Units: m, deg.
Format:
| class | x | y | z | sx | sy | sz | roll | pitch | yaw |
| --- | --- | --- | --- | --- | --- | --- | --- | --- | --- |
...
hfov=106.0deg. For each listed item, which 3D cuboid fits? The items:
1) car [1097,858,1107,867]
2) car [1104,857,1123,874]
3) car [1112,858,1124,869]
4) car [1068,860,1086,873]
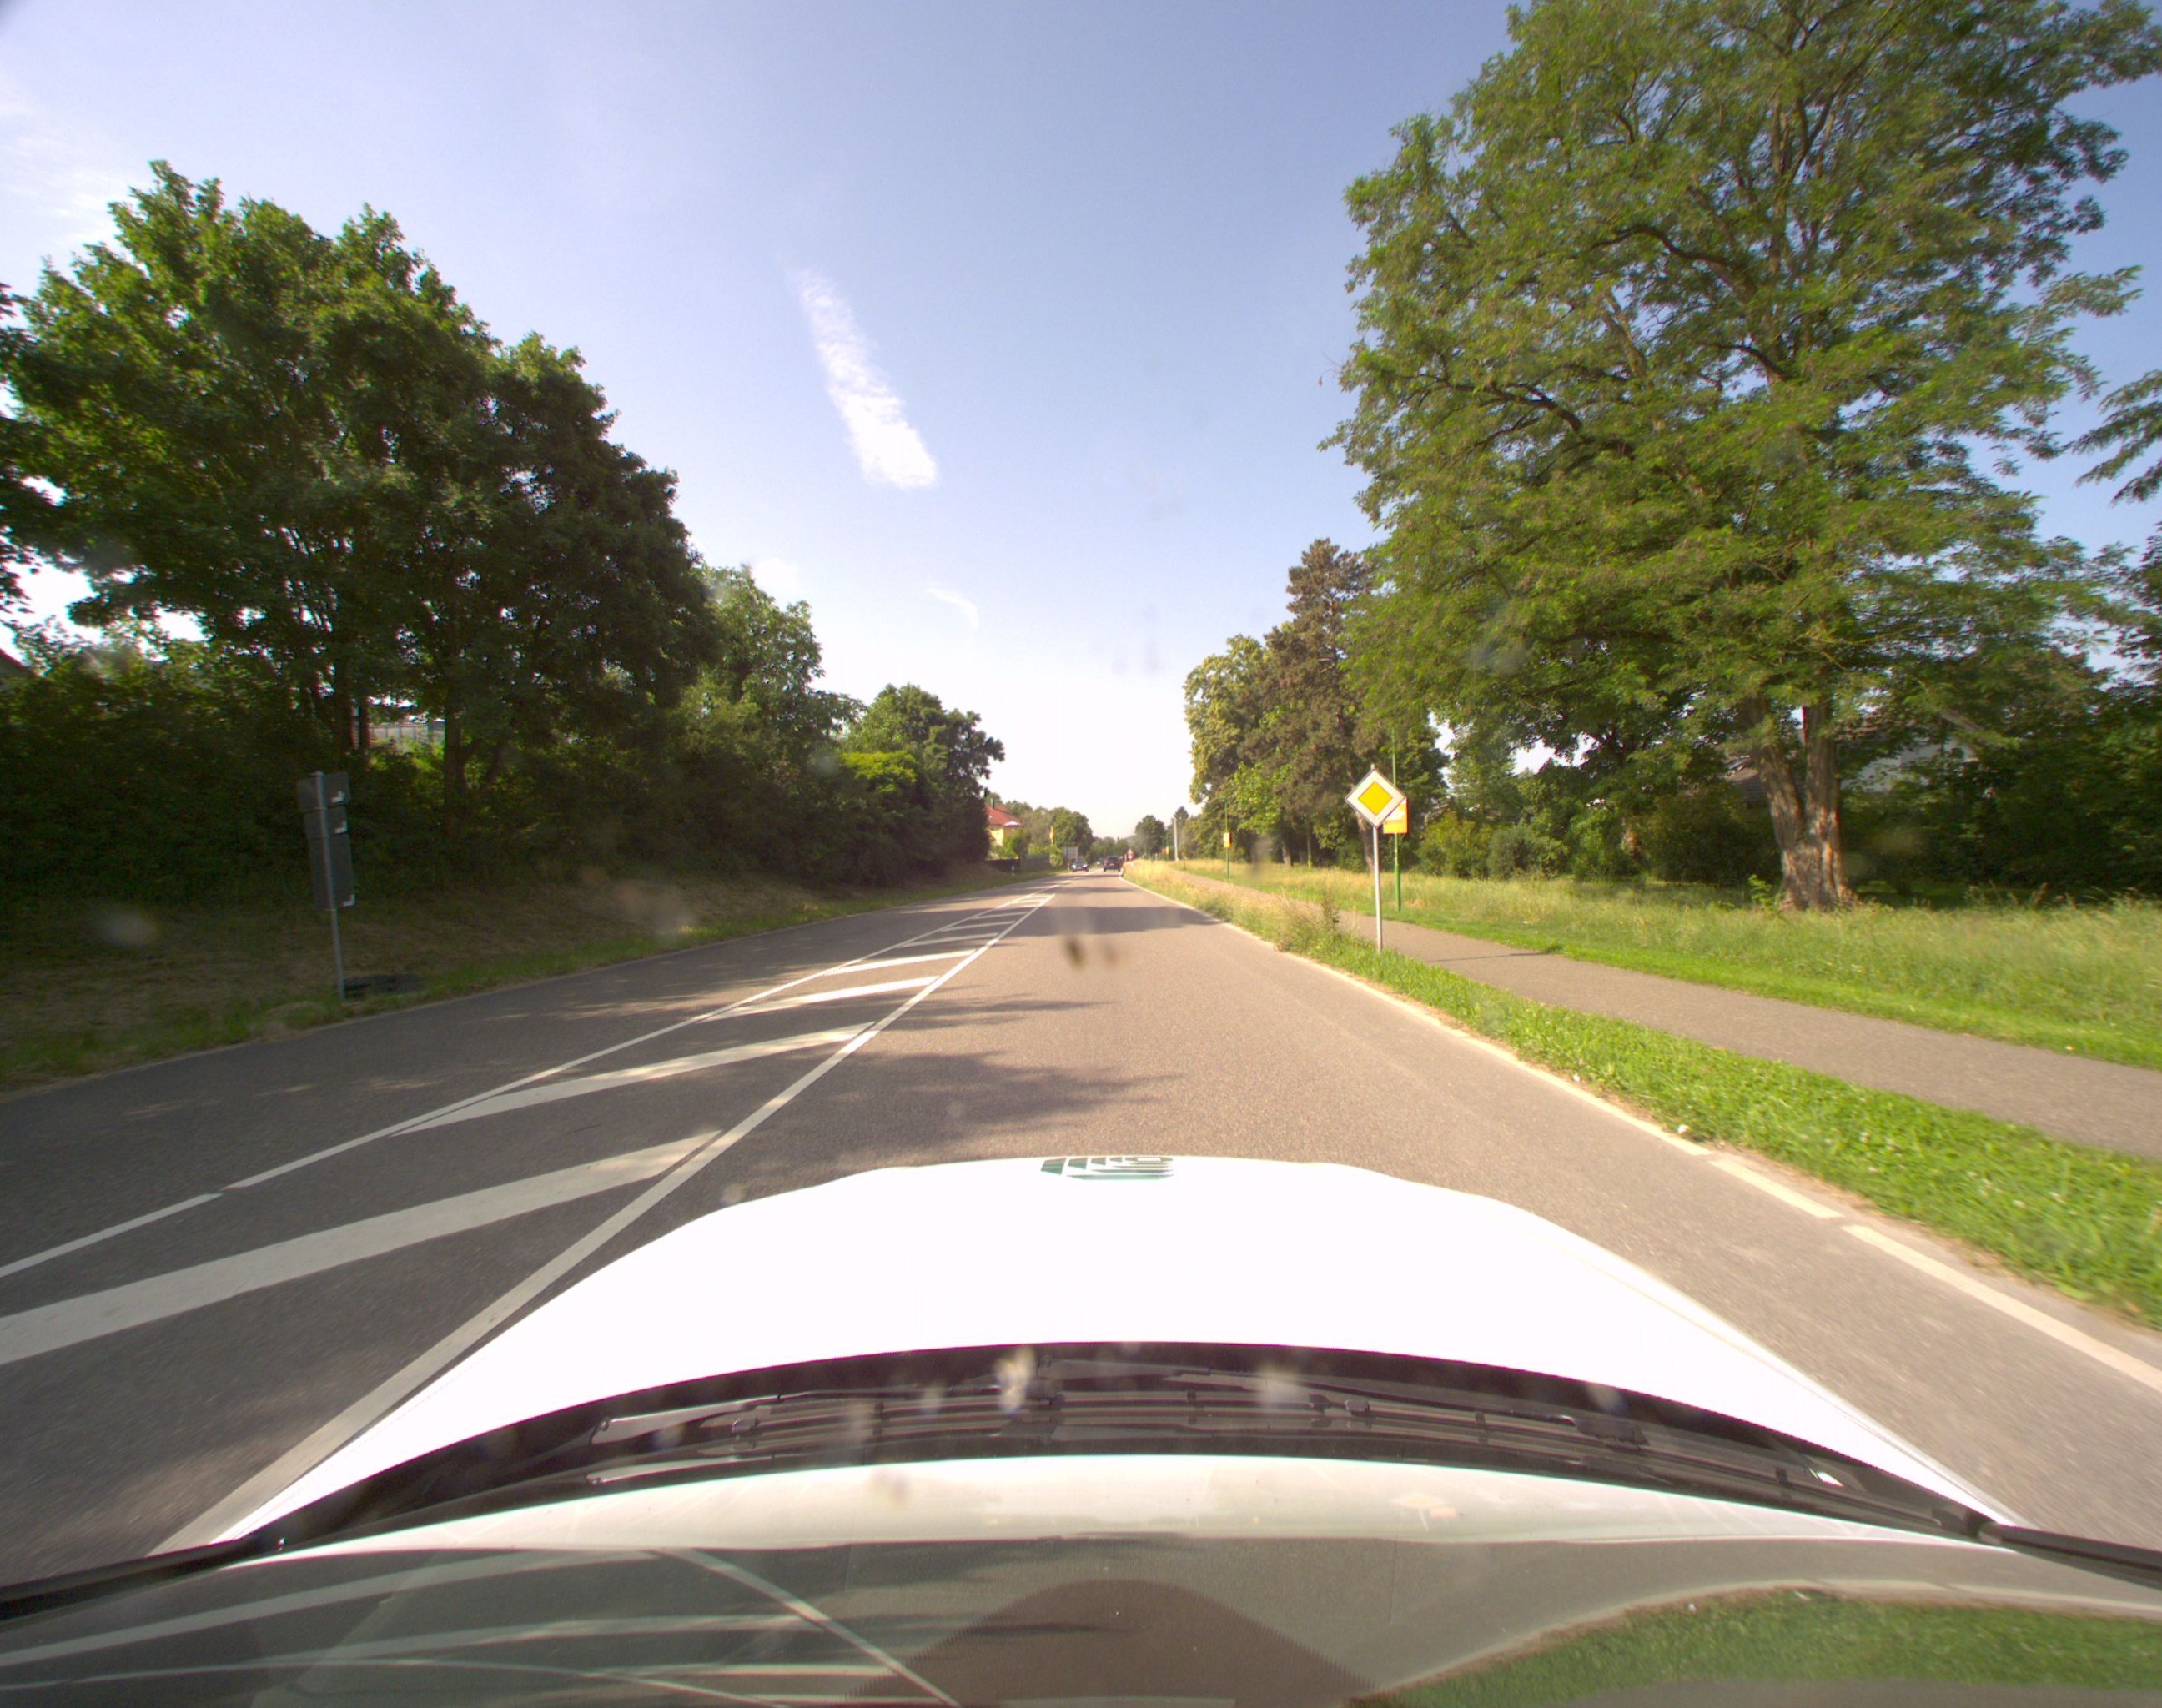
| class | x | y | z | sx | sy | sz | roll | pitch | yaw |
| --- | --- | --- | --- | --- | --- | --- | --- | --- | --- |
| car | 4.453 | 1.883 | 175.852 | 1.933 | 1.817 | 4.241 | -4 | -1 | 0 |
| car | 3.675 | 1.283 | 92.732 | 1.918 | 1.771 | 4.000 | -2 | 0 | 1 |
| car | 5.781 | 1.492 | 128.179 | 1.730 | 1.516 | 3.913 | -2 | 0 | 0 |
| car | -0.499 | 1.539 | 99.140 | 1.863 | 1.423 | 4.579 | -4 | 0 | 2 |
